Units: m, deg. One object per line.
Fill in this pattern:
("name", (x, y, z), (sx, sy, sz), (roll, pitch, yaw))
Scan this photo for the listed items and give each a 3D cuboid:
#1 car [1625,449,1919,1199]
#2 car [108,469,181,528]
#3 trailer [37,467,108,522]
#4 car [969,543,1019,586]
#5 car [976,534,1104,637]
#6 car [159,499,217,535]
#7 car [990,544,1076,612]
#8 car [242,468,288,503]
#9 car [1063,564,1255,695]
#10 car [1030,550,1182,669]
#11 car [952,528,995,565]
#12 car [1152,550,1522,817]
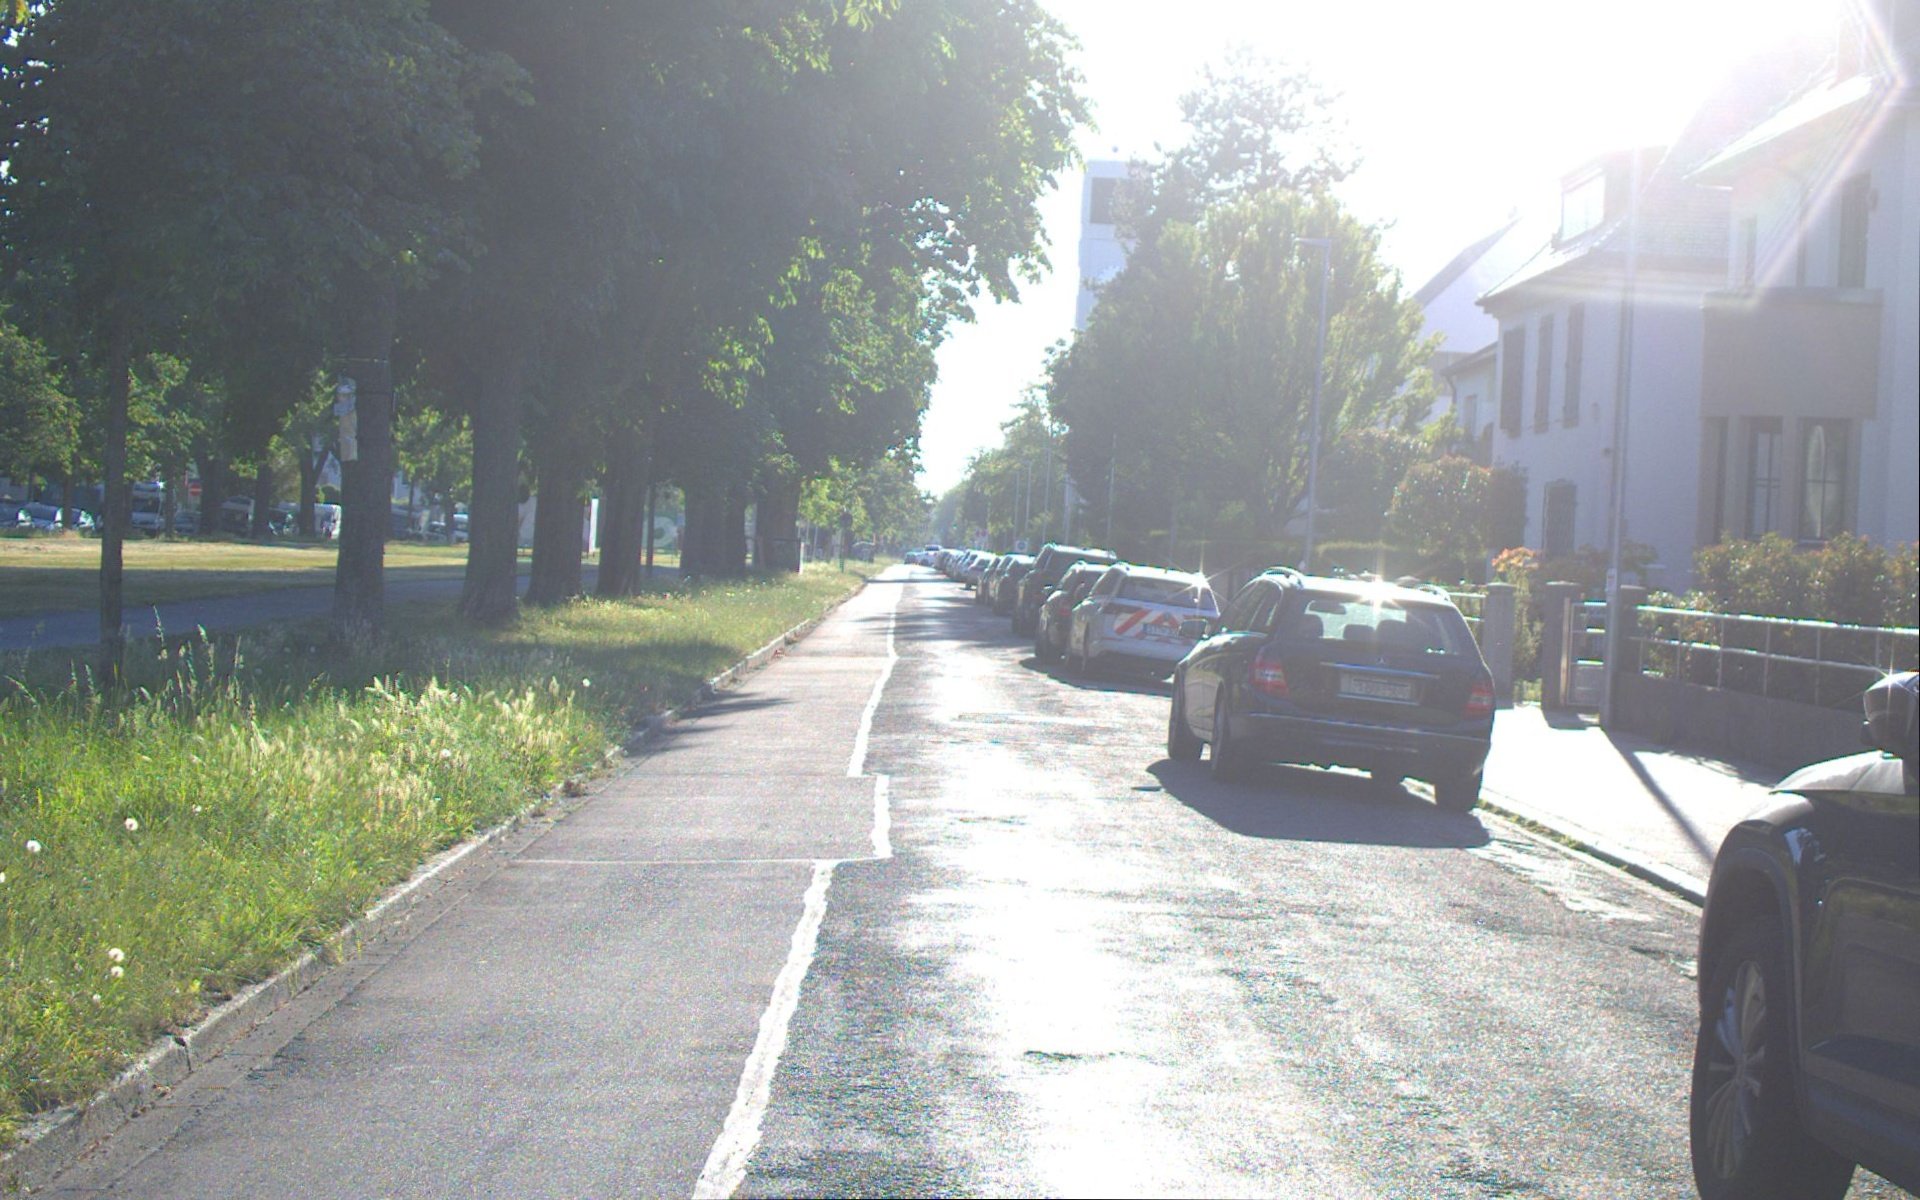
("car", (2.736, 0.698, 6.104), (1.858, 1.714, 4.468), (8, 1, -2))
("car", (-42.382, -5.264, 178.888), (2.437, 2.912, 5.818), (1, 0, -1))
("trailer", (-41.975, -4.979, 162.696), (1.993, 2.419, 4.724), (3, 1, 0))
("car", (1.335, -1.436, 136.564), (1.757, 1.415, 4.072), (9, 1, 0))
("car", (1.437, -0.304, 63.936), (1.993, 1.731, 4.864), (3, 1, -2))
("car", (-36.586, -3.933, 163.016), (1.685, 1.554, 4.314), (3, 1, 0))
("car", (1.734, -0.537, 83.541), (1.793, 1.487, 4.675), (4, 0, -1))
("car", (-43.759, -7.211, 216.518), (1.993, 2.007, 4.485), (1, -1, -1))
("car", (2.490, 0.337, 44.025), (1.993, 1.459, 4.550), (3, 1, -2))
("car", (2.070, 0.096, 49.937), (1.780, 1.458, 4.594), (6, 1, -1))
("car", (0.627, -2.497, 159.432), (1.758, 1.599, 4.359), (3, 1, -2))
("car", (2.506, 0.497, 23.889), (1.779, 1.494, 4.398), (6, 1, -2))
